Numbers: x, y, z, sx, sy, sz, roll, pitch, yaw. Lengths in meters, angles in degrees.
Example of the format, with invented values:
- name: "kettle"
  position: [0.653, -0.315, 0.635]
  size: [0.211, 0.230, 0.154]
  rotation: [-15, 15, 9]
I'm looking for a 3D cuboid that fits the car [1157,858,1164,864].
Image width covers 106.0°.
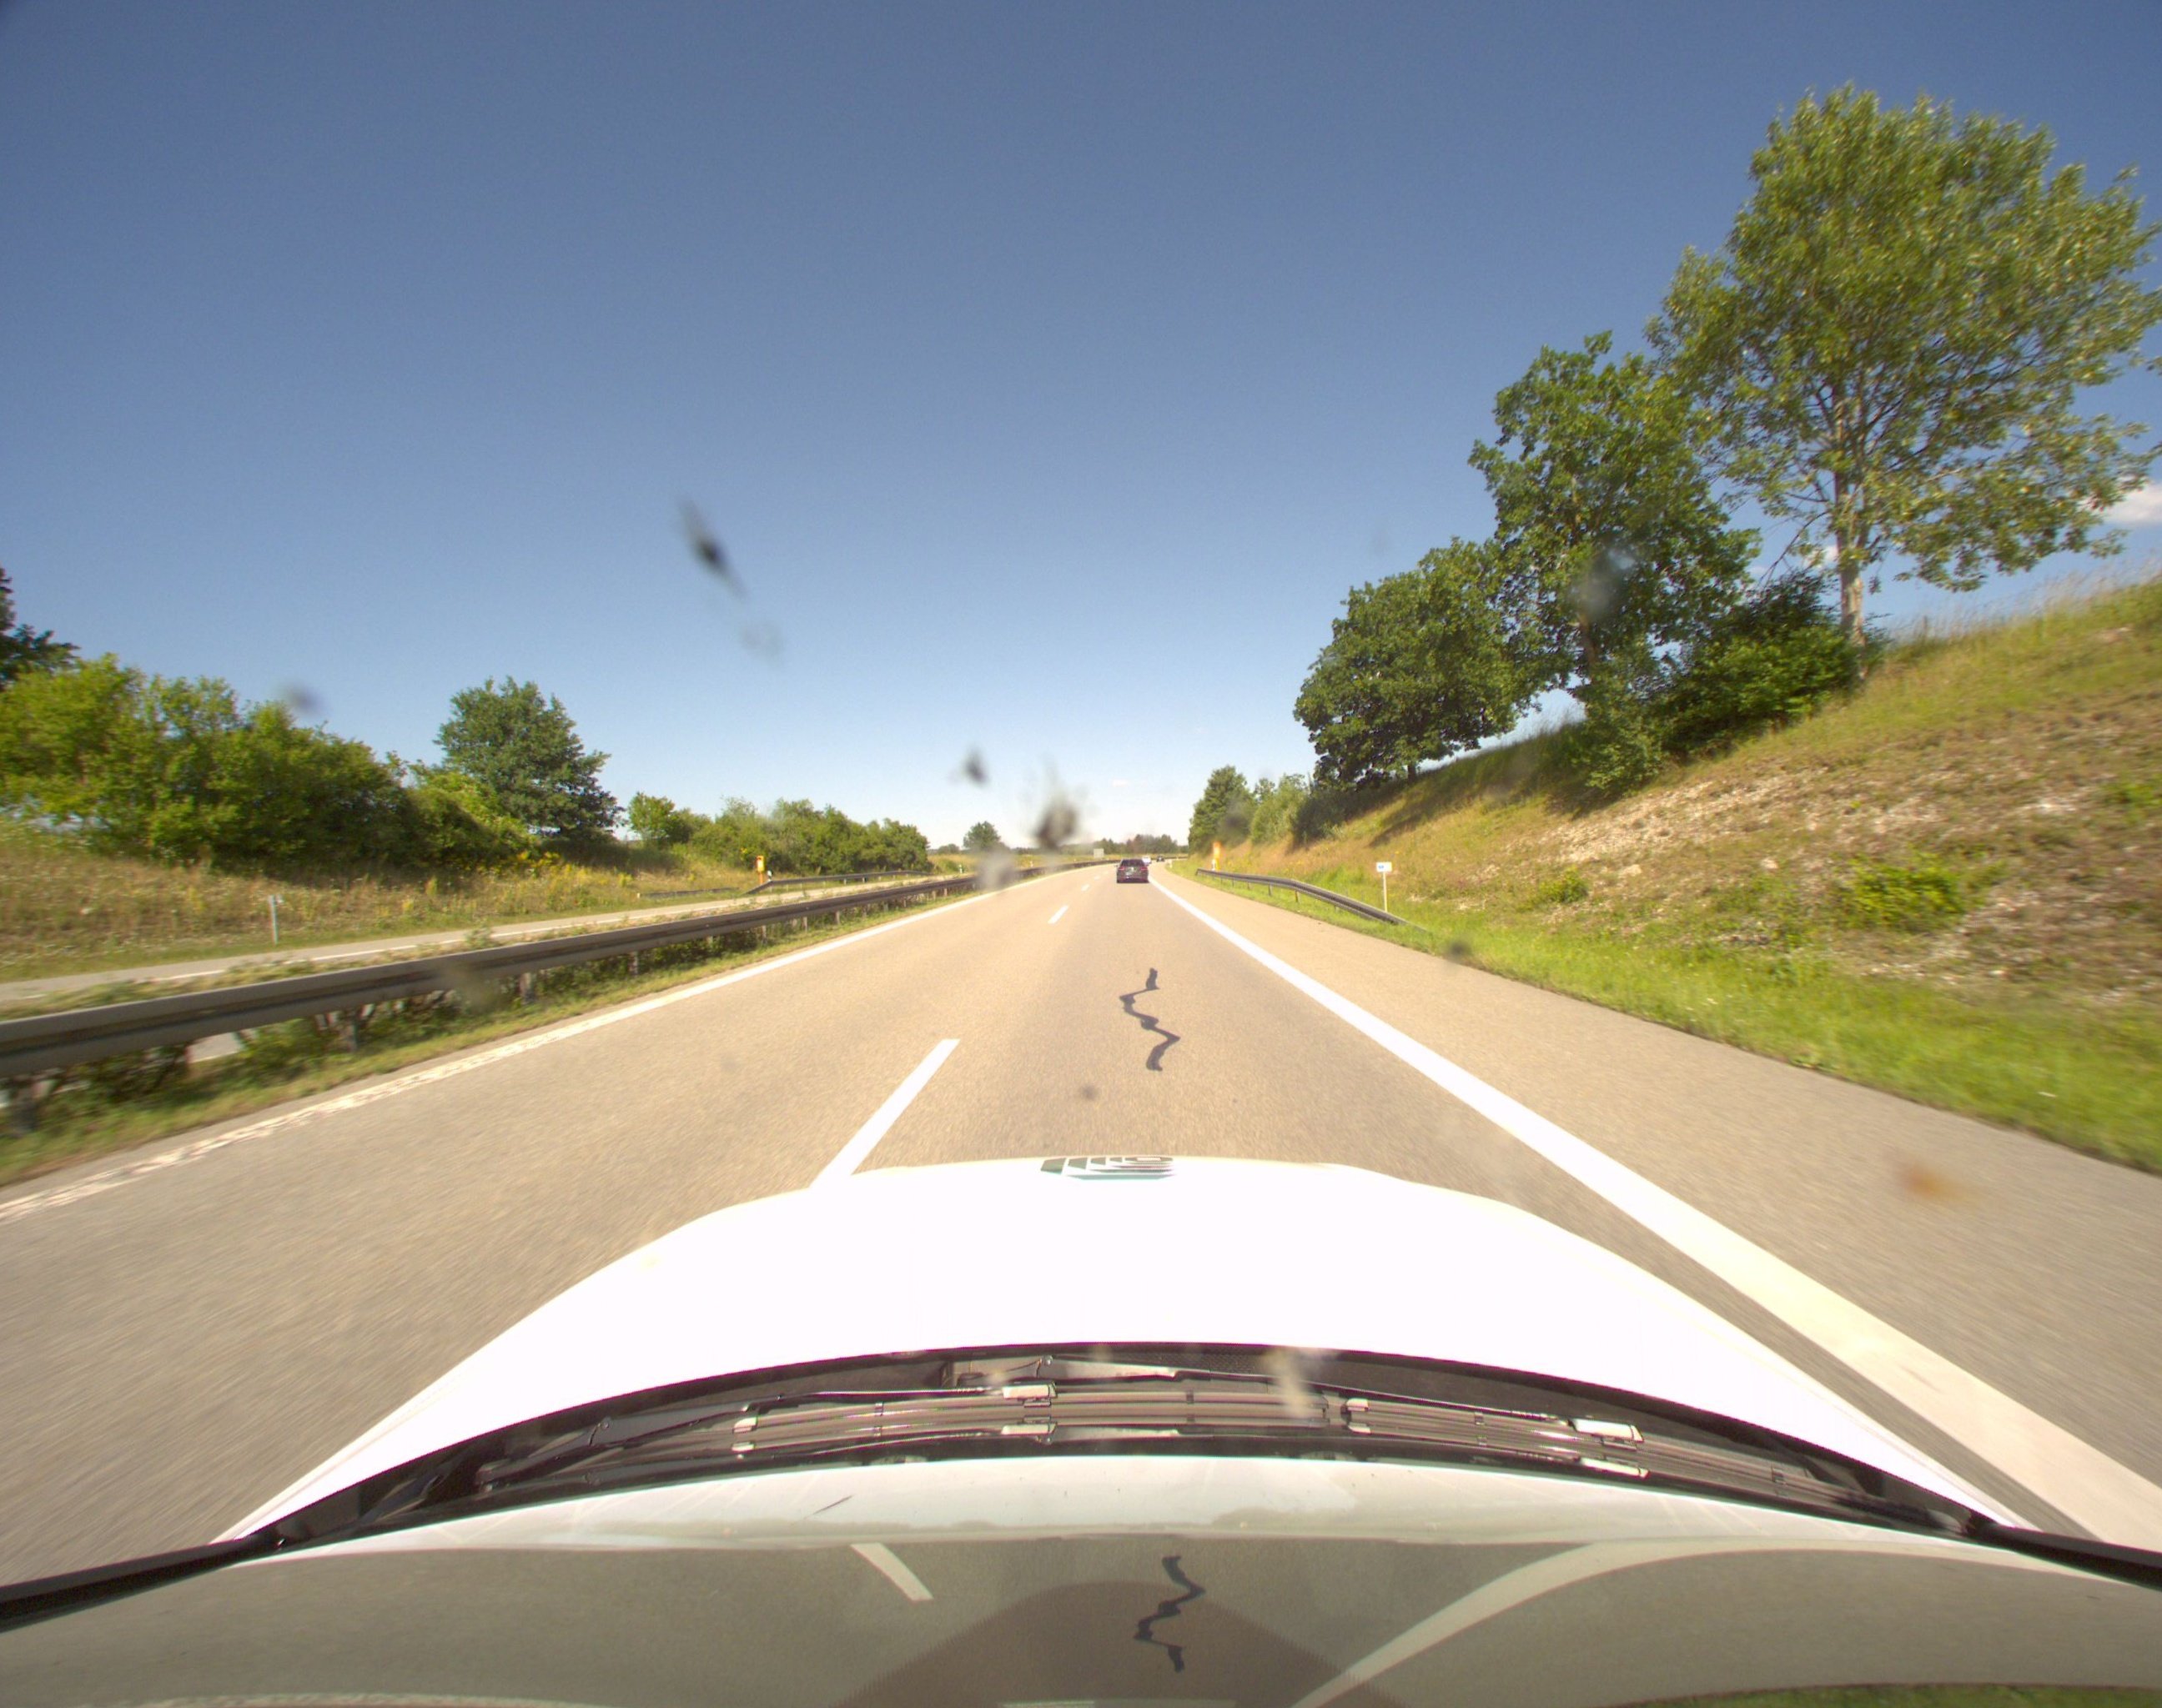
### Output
- name: "car"
  position: [19.168, 1.656, 197.250]
  size: [1.702, 1.387, 3.360]
  rotation: [1, -1, 6]

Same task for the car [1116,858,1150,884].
- name: "car"
  position: [2.920, 0.952, 46.435]
  size: [1.784, 1.344, 4.001]
  rotation: [-1, 0, 1]

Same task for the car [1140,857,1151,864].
- name: "car"
  position: [12.322, 1.271, 155.468]
  size: [1.997, 1.344, 4.006]
  rotation: [1, -1, 6]
